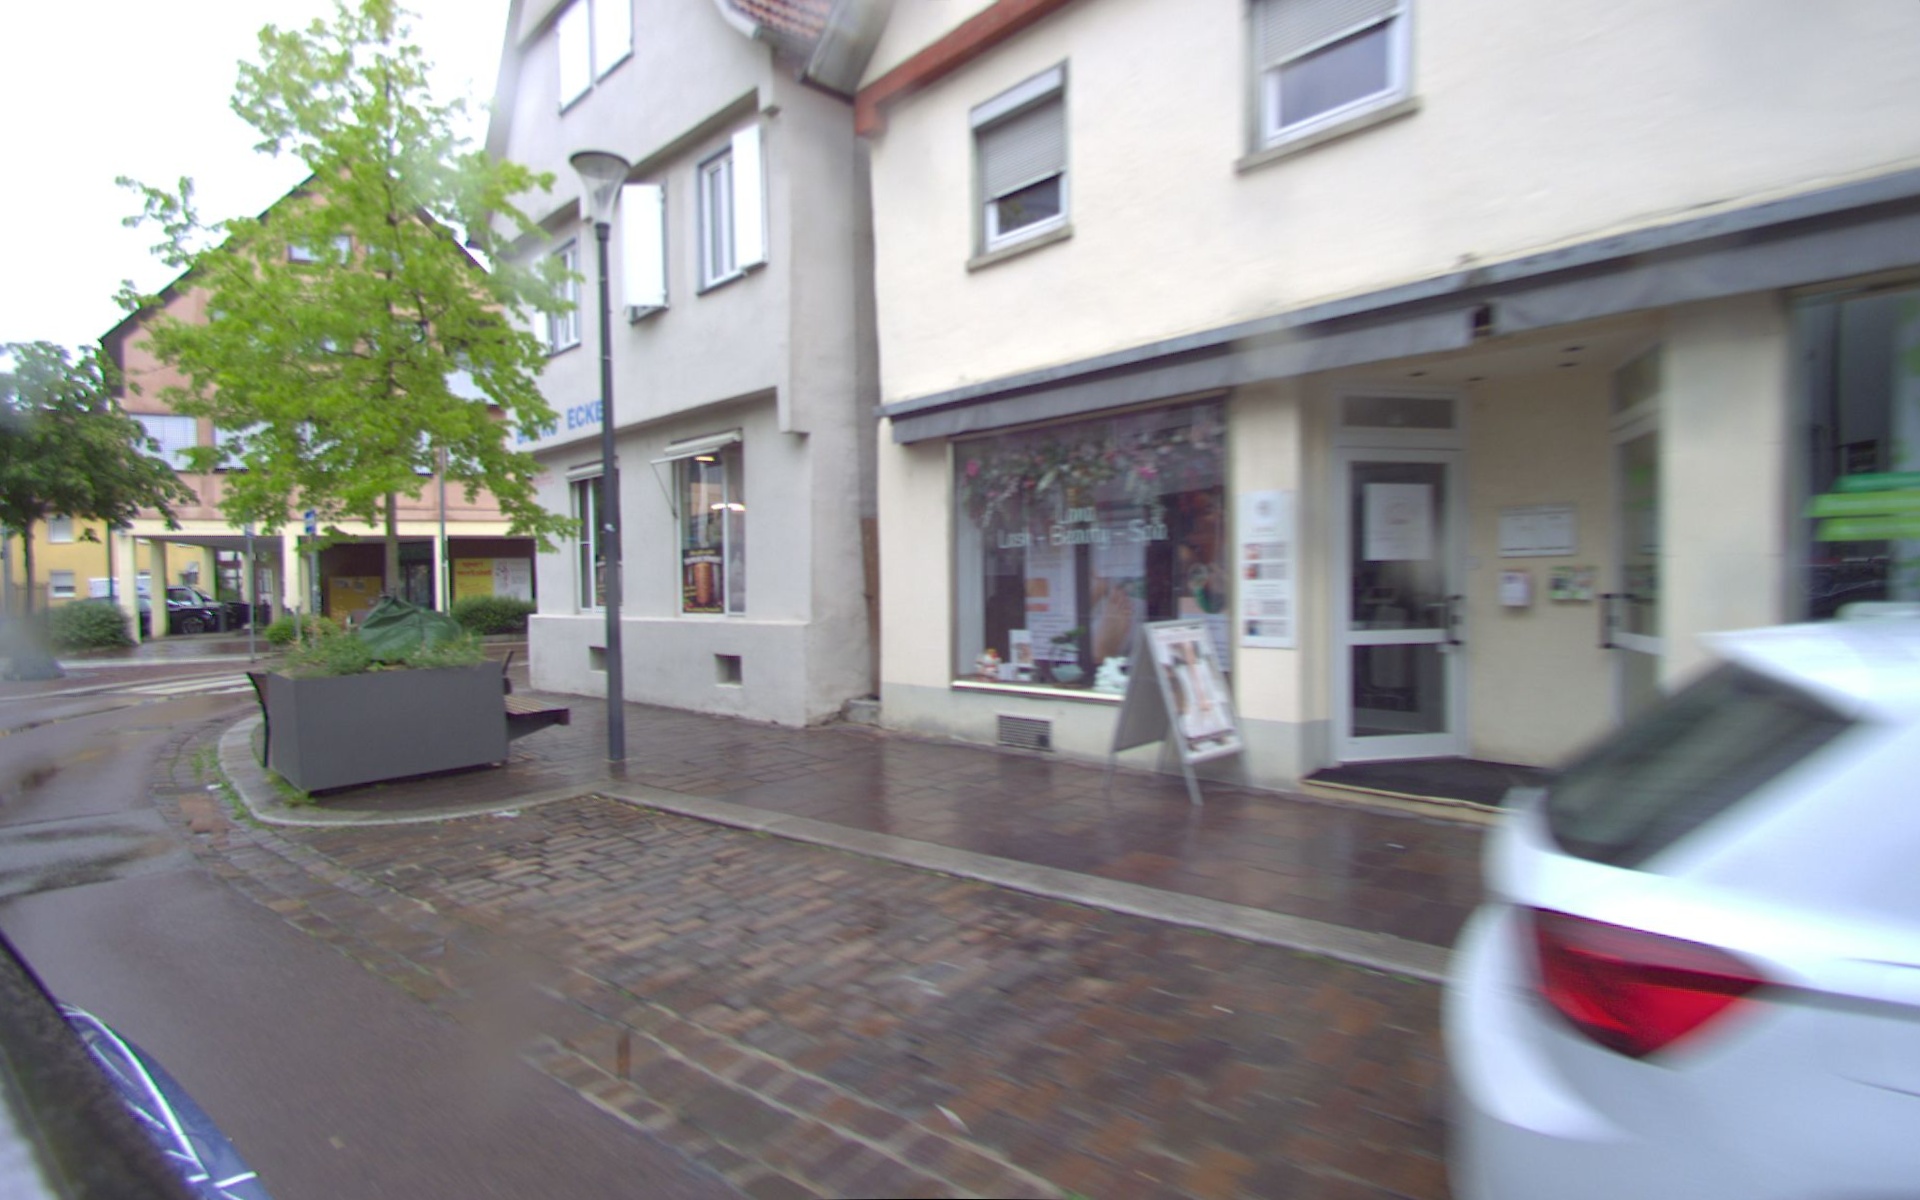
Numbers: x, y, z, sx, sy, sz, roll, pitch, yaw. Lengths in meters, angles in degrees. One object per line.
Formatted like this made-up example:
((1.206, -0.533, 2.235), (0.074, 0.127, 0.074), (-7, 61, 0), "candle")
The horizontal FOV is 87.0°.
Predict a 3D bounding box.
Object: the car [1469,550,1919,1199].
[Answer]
((2.938, 0.589, 1.111), (4.059, 1.463, 1.835), (-3, 0, 33), "car")

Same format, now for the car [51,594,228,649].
((-25.565, 0.636, 31.706), (3.931, 1.519, 1.842), (-1, 2, -23), "car")

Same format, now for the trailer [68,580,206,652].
((-27.375, 0.510, 33.786), (3.040, 2.103, 1.842), (-5, 1, -23), "trailer")

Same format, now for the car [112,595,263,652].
((-28.079, 0.837, 36.943), (3.932, 1.683, 1.842), (-5, 1, -23), "car")
